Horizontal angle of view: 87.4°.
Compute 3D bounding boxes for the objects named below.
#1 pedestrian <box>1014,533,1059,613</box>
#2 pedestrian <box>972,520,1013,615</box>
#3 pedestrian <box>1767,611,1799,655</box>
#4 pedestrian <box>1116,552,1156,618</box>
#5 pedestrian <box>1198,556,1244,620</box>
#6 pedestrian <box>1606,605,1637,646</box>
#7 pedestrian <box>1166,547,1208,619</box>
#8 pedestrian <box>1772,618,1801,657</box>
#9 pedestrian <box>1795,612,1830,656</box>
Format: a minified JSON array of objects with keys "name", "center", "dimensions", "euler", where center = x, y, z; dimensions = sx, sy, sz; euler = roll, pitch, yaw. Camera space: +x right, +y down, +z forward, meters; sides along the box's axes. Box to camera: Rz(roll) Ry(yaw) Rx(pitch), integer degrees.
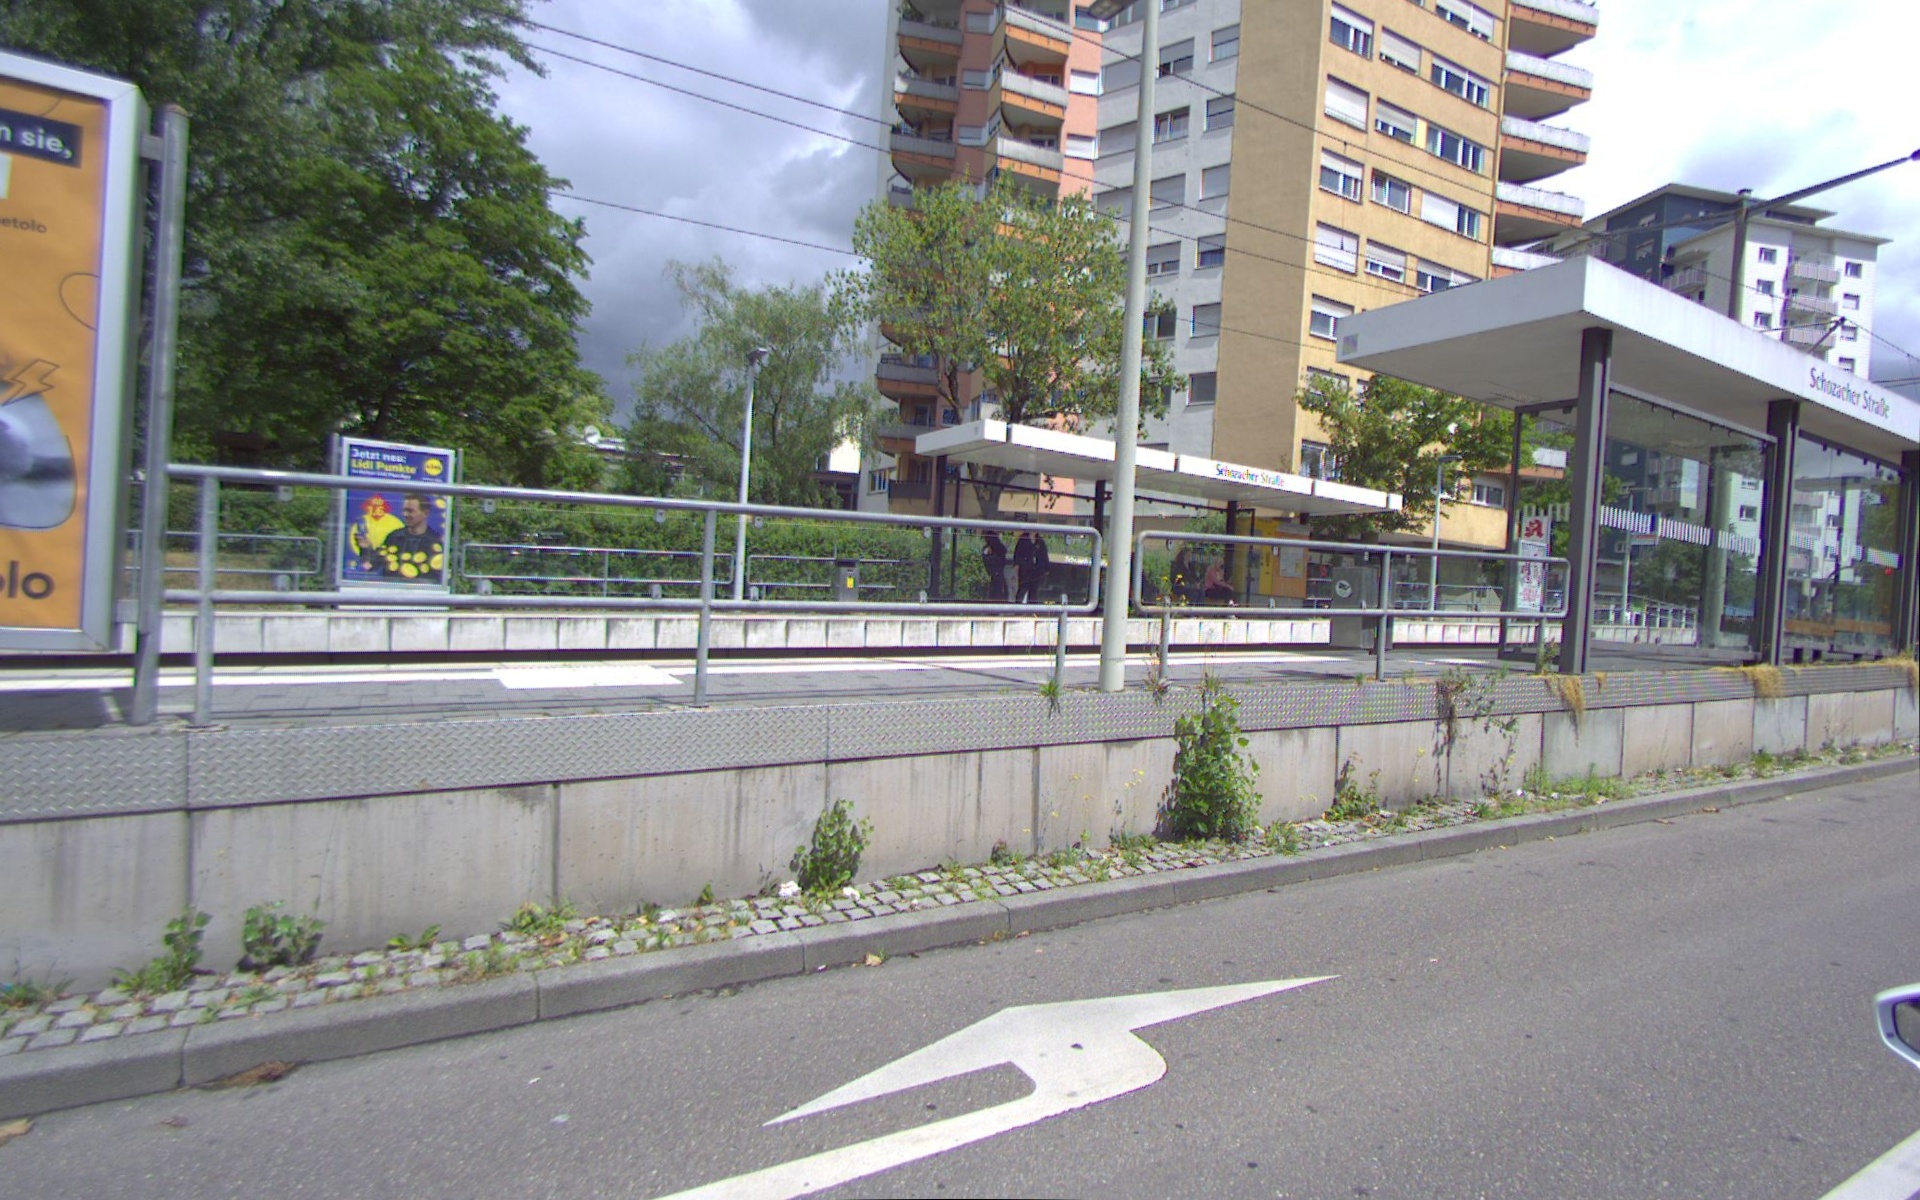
[{"name":"pedestrian","center":[1.374,-0.476,18.108],"dimensions":[0.517,1.397,0.537],"euler":[5,-2,-39]},{"name":"pedestrian","center":[0.587,-0.566,17.886],"dimensions":[0.512,1.666,0.564],"euler":[1,0,27]},{"name":"pedestrian","center":[30.409,1.205,37.113],"dimensions":[0.764,1.604,0.605],"euler":[1,0,-27]},{"name":"pedestrian","center":[3.401,-0.285,19.429],"dimensions":[0.539,1.253,0.515],"euler":[1,0,-42]},{"name":"pedestrian","center":[5.272,-0.240,20.279],"dimensions":[0.511,1.253,0.738],"euler":[1,0,-30]},{"name":"pedestrian","center":[28.544,1.101,43.360],"dimensions":[0.677,1.719,0.858],"euler":[1,0,-14]},{"name":"pedestrian","center":[4.521,-0.330,20.033],"dimensions":[0.501,1.387,0.640],"euler":[1,0,-30]},{"name":"pedestrian","center":[29.768,1.349,36.191],"dimensions":[0.543,1.360,0.669],"euler":[2,0,12]},{"name":"pedestrian","center":[31.632,1.267,37.275],"dimensions":[0.618,1.599,0.851],"euler":[1,0,-39]}]
